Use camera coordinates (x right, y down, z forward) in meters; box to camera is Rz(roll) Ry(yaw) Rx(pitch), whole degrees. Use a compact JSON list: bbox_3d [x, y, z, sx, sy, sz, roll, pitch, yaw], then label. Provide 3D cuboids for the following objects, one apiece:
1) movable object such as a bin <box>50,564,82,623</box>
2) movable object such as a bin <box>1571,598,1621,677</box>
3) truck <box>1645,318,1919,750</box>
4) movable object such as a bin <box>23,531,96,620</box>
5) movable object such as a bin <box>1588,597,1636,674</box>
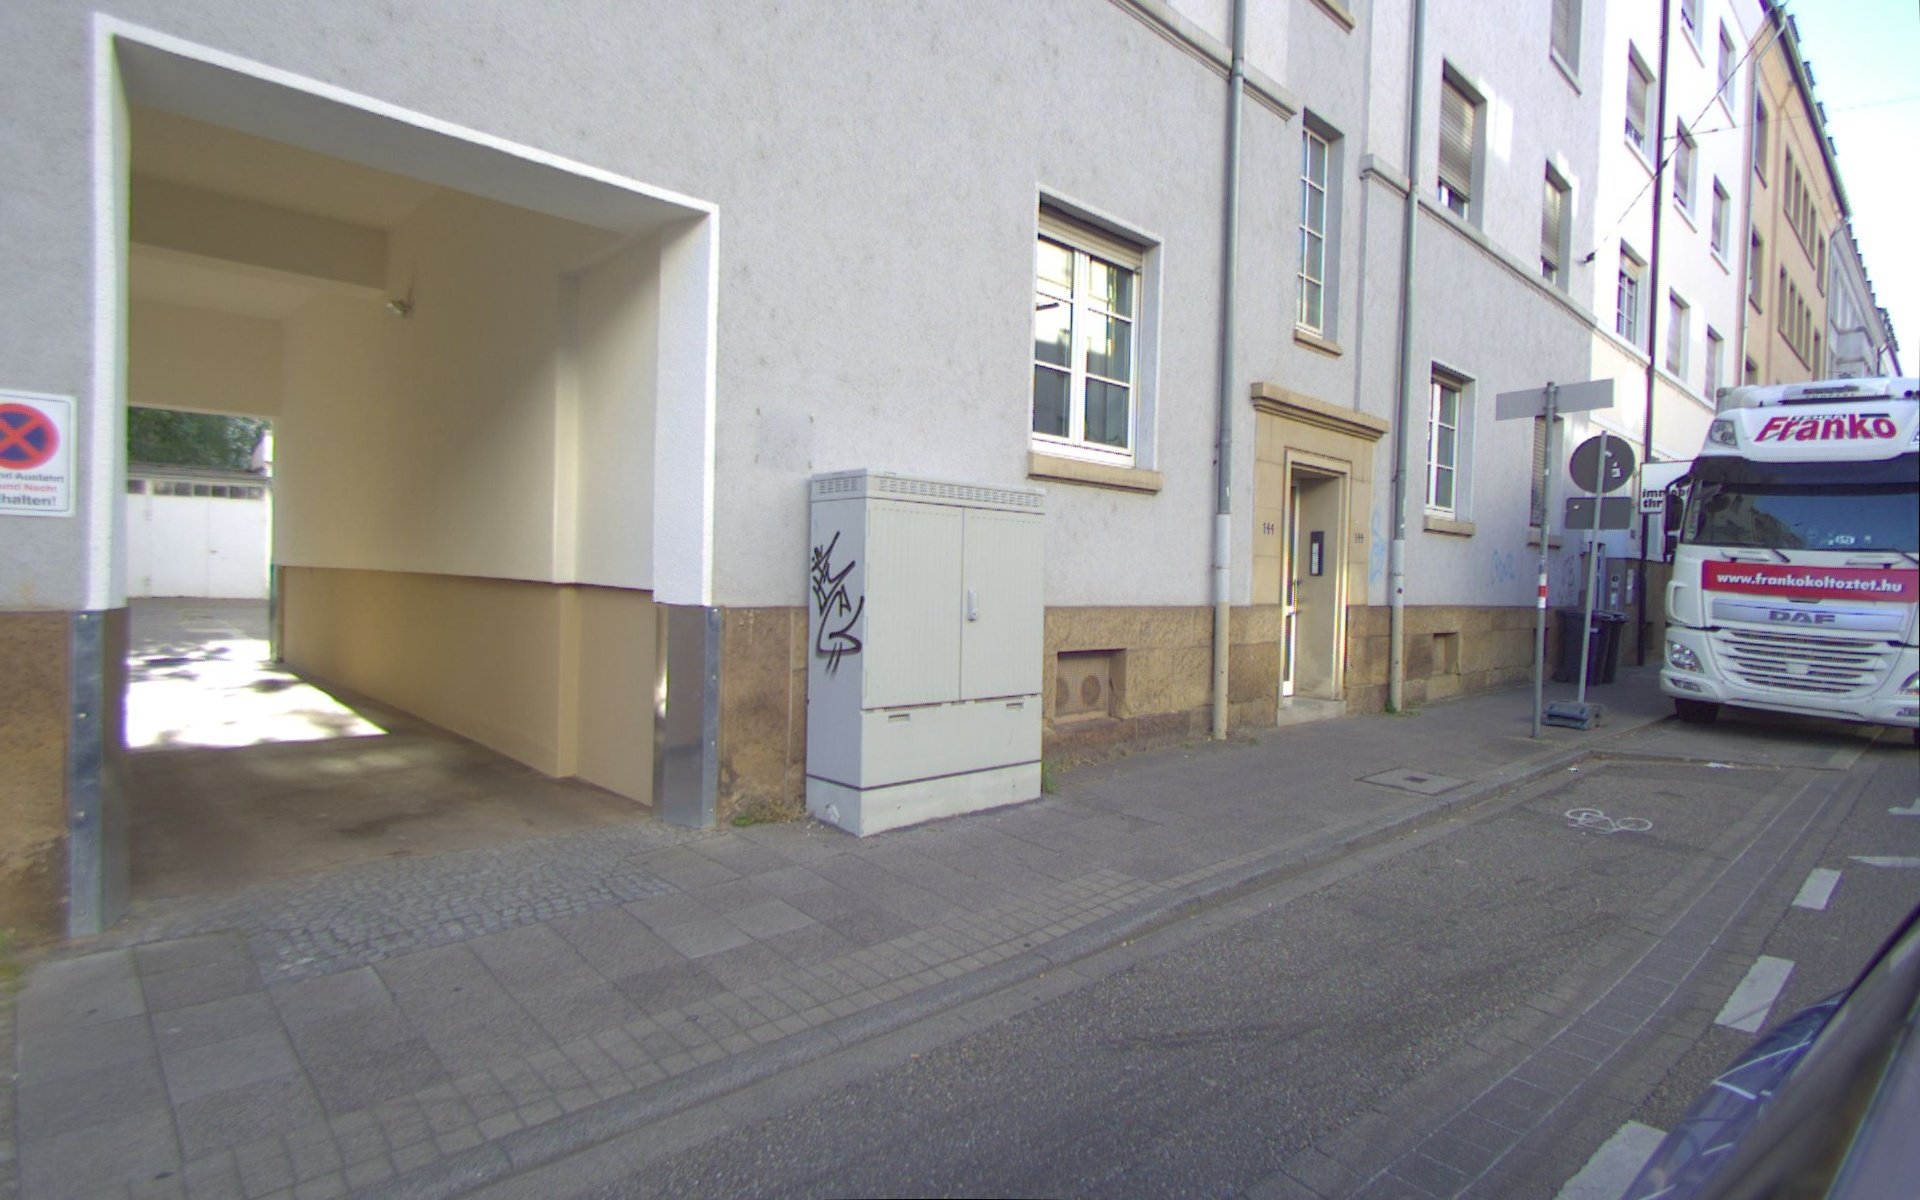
[{"bbox_3d":[-14.325,-0.107,16.218,0.366,0.919,0.420,0,3,-44],"label":"movable object such as a bin"},{"bbox_3d":[9.151,0.525,14.567,0.511,1.106,0.488,0,0,45],"label":"movable object such as a bin"},{"bbox_3d":[12.569,-0.604,13.886,11.511,4.012,2.894,0,0,-44],"label":"truck"},{"bbox_3d":[-14.908,-0.411,16.756,0.874,1.409,0.758,0,4,-44],"label":"movable object such as a bin"},{"bbox_3d":[9.633,0.518,14.952,0.511,1.106,0.488,0,0,45],"label":"movable object such as a bin"}]
